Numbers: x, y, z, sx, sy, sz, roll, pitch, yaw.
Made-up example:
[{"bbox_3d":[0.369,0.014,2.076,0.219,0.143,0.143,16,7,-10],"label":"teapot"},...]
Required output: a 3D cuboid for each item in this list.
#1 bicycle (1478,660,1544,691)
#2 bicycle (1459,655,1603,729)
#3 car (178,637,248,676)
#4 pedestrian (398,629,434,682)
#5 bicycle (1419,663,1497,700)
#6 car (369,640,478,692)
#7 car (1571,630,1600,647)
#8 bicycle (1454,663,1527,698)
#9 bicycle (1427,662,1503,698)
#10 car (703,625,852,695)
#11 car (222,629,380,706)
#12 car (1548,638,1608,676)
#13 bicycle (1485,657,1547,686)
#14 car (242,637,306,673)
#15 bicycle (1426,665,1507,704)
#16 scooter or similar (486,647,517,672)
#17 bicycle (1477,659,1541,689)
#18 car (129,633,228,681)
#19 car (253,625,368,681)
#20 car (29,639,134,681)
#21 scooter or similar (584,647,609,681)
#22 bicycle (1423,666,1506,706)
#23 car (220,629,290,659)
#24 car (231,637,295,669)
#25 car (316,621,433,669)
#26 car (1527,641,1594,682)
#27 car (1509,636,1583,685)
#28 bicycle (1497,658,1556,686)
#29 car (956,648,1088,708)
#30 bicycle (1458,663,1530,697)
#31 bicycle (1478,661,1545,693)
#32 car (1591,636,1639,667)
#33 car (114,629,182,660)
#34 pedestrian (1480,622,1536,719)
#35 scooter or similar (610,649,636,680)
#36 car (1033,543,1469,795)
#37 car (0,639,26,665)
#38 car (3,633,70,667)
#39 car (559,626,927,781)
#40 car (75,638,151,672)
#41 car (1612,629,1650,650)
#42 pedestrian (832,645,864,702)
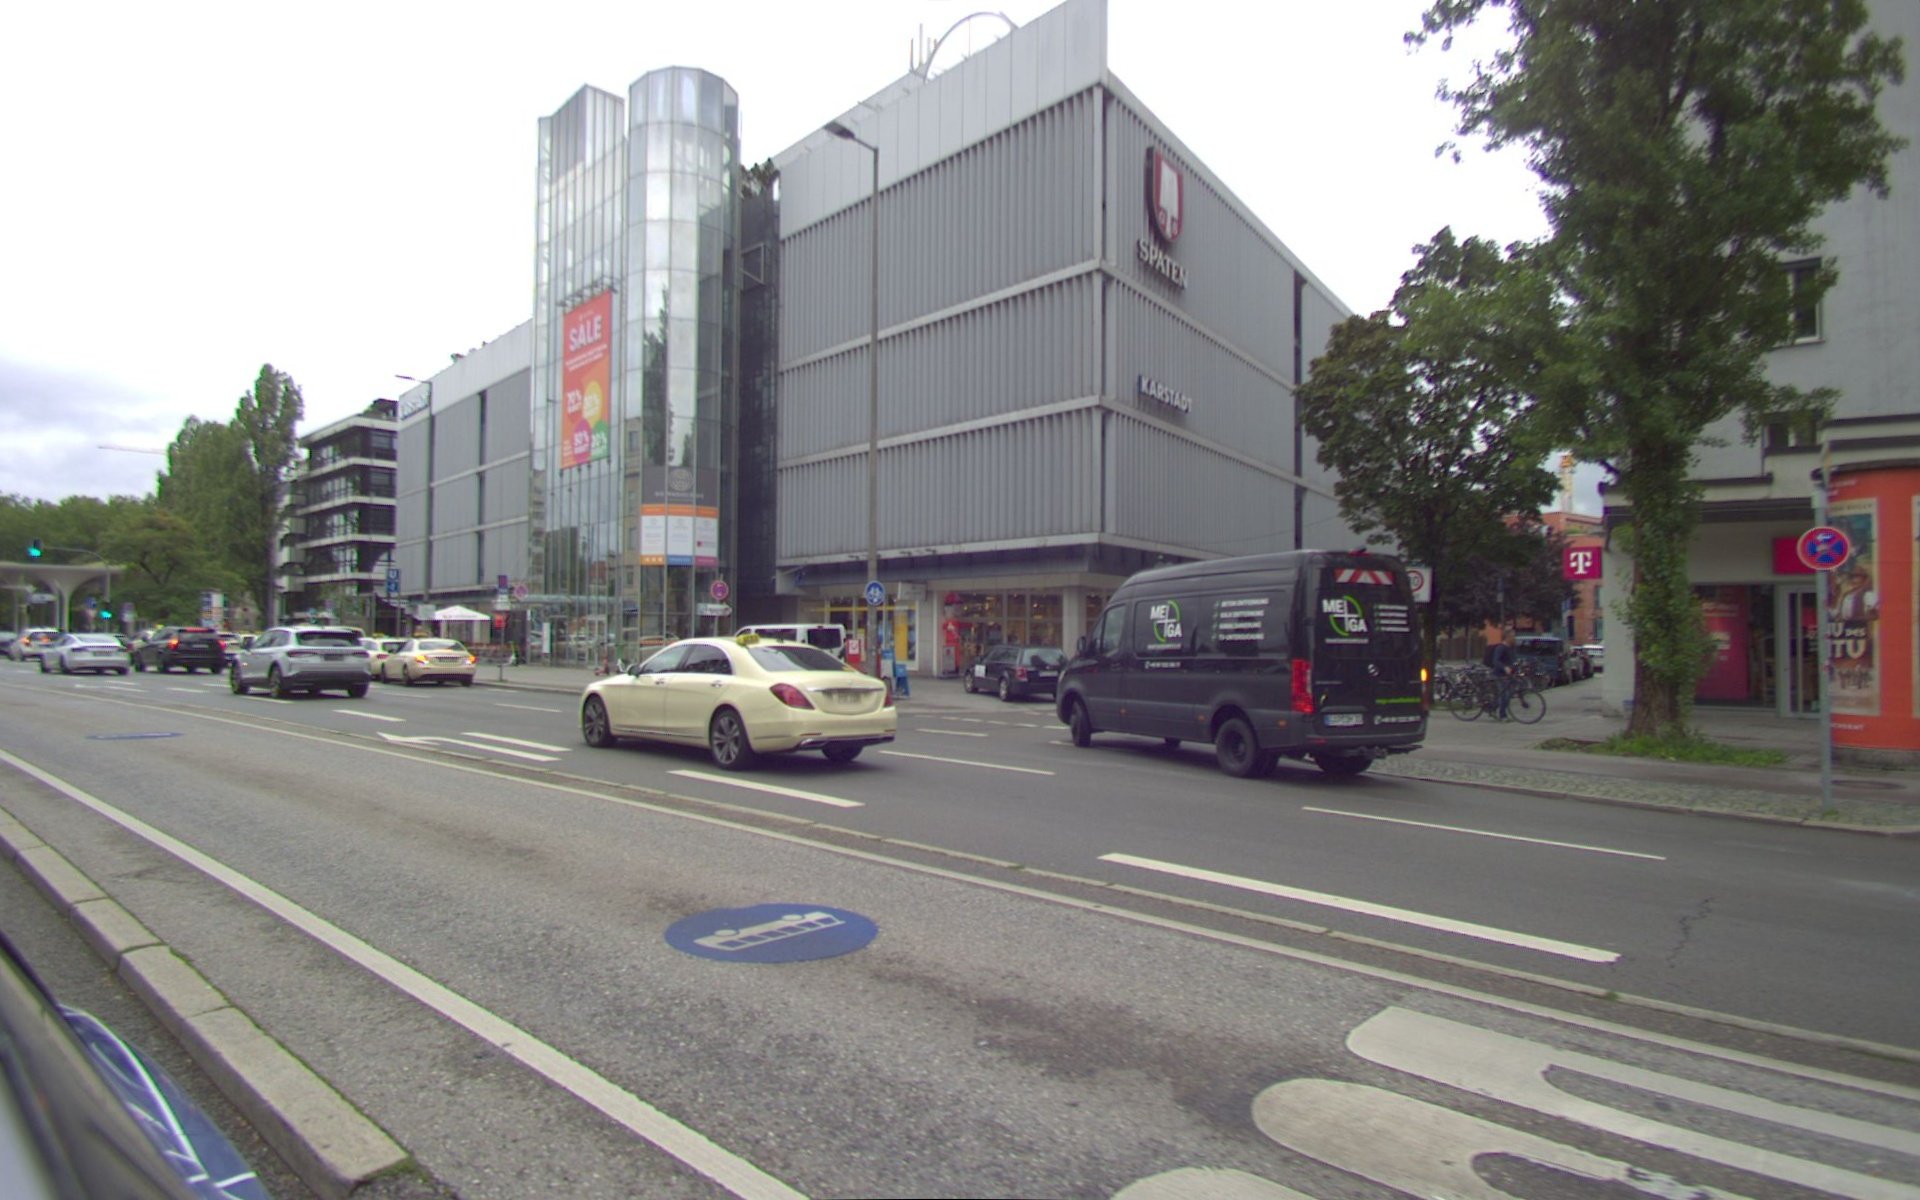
[{"bbox_3d":[18.406,2.521,33.862,1.879,0.971,0.454,-2,-3,40],"label":"bicycle"},{"bbox_3d":[10.998,1.737,19.535,2.301,1.318,0.838,-2,-3,39],"label":"bicycle"},{"bbox_3d":[-33.860,2.545,45.830,4.384,1.711,1.864,-2,-5,45],"label":"car"},{"bbox_3d":[-19.736,2.003,36.718,0.845,1.881,0.778,0,-4,38],"label":"pedestrian"},{"bbox_3d":[13.833,2.253,28.126,1.879,0.971,0.454,-2,-3,40],"label":"bicycle"},{"bbox_3d":[-16.669,2.009,31.325,1.834,1.481,4.989,5,-5,-41],"label":"car"},{"bbox_3d":[60.458,3.727,97.762,1.849,1.674,4.182,-2,-3,39],"label":"car"},{"bbox_3d":[15.984,2.421,30.538,1.879,0.971,0.454,-2,-3,40],"label":"bicycle"},{"bbox_3d":[14.328,2.256,28.745,1.879,0.971,0.454,-2,-3,40],"label":"bicycle"},{"bbox_3d":[-5.845,1.853,32.013,5.112,2.029,1.971,-2,-3,43],"label":"car"},{"bbox_3d":[-15.417,1.511,23.586,4.351,1.615,1.890,-2,-3,40],"label":"car"},{"bbox_3d":[30.293,2.750,49.573,1.998,1.742,4.182,-2,-3,39],"label":"car"},{"bbox_3d":[19.684,2.532,35.841,1.879,0.971,0.454,-2,-3,40],"label":"bicycle"},{"bbox_3d":[-31.862,2.523,46.966,1.751,1.628,4.002,3,-3,-44],"label":"car"},{"bbox_3d":[13.524,2.245,27.048,1.879,0.971,0.454,-2,-3,40],"label":"bicycle"},{"bbox_3d":[-20.916,2.705,46.170,1.369,1.148,0.366,-1,-3,15],"label":"scooter or similar"},{"bbox_3d":[18.804,2.526,34.683,1.879,0.971,0.454,-2,-3,40],"label":"bicycle"},{"bbox_3d":[-30.007,2.126,38.822,4.979,1.729,1.997,-2,-3,40],"label":"car"},{"bbox_3d":[-25.177,2.030,39.172,5.312,2.029,1.975,-1,-4,37],"label":"car"},{"bbox_3d":[-31.274,2.090,35.984,4.680,1.405,1.783,-1,-3,36],"label":"car"},{"bbox_3d":[-13.537,2.382,37.719,0.992,1.233,0.252,-1,-3,27],"label":"scooter or similar"},{"bbox_3d":[13.210,2.227,26.533,1.879,0.971,0.454,-2,-3,40],"label":"bicycle"},{"bbox_3d":[-38.610,2.381,55.390,3.991,1.579,1.890,-2,-3,35],"label":"car"},{"bbox_3d":[-34.893,2.633,50.657,3.999,1.548,1.733,-2,-3,42],"label":"car"},{"bbox_3d":[-20.571,1.559,35.455,5.083,1.564,1.957,-2,-3,41],"label":"car"},{"bbox_3d":[26.886,2.713,45.260,1.998,1.742,4.182,-2,-3,39],"label":"car"},{"bbox_3d":[23.924,2.434,41.258,1.998,1.878,4.182,-2,-3,39],"label":"car"},{"bbox_3d":[21.442,2.718,38.344,1.879,0.971,0.454,-2,-3,40],"label":"bicycle"},{"bbox_3d":[1.538,2.025,27.105,1.895,1.450,4.521,1,-3,-20],"label":"car"},{"bbox_3d":[16.315,2.423,30.934,1.879,0.971,0.454,-2,-3,40],"label":"bicycle"},{"bbox_3d":[18.123,2.518,33.275,1.879,0.971,0.454,-2,-3,40],"label":"bicycle"},{"bbox_3d":[39.322,3.060,60.716,1.998,1.833,4.182,-2,-3,39],"label":"car"},{"bbox_3d":[-43.846,2.409,54.620,4.464,1.624,1.574,-1,-3,34],"label":"car"},{"bbox_3d":[11.161,1.423,20.601,0.832,1.913,0.849,-2,-4,39],"label":"pedestrian"},{"bbox_3d":[-12.768,2.444,38.355,0.990,1.182,0.253,-1,-3,21],"label":"scooter or similar"},{"bbox_3d":[3.466,0.842,13.786,2.139,2.625,6.083,1,-3,-26],"label":"car"},{"bbox_3d":[-54.095,2.907,56.748,4.680,1.420,1.713,-2,-3,37],"label":"car"},{"bbox_3d":[-46.029,2.468,50.424,3.997,1.602,1.933,-2,-3,41],"label":"car"},{"bbox_3d":[-2.970,1.193,12.995,5.195,1.601,1.972,-2,-5,43],"label":"car"},{"bbox_3d":[-38.311,2.448,45.739,3.994,1.477,1.767,-2,-3,38],"label":"car"},{"bbox_3d":[58.332,3.443,87.959,2.078,1.720,4.176,-2,-3,44],"label":"car"},{"bbox_3d":[-3.029,1.966,27.375,0.655,1.506,0.540,-2,-3,38],"label":"pedestrian"}]
